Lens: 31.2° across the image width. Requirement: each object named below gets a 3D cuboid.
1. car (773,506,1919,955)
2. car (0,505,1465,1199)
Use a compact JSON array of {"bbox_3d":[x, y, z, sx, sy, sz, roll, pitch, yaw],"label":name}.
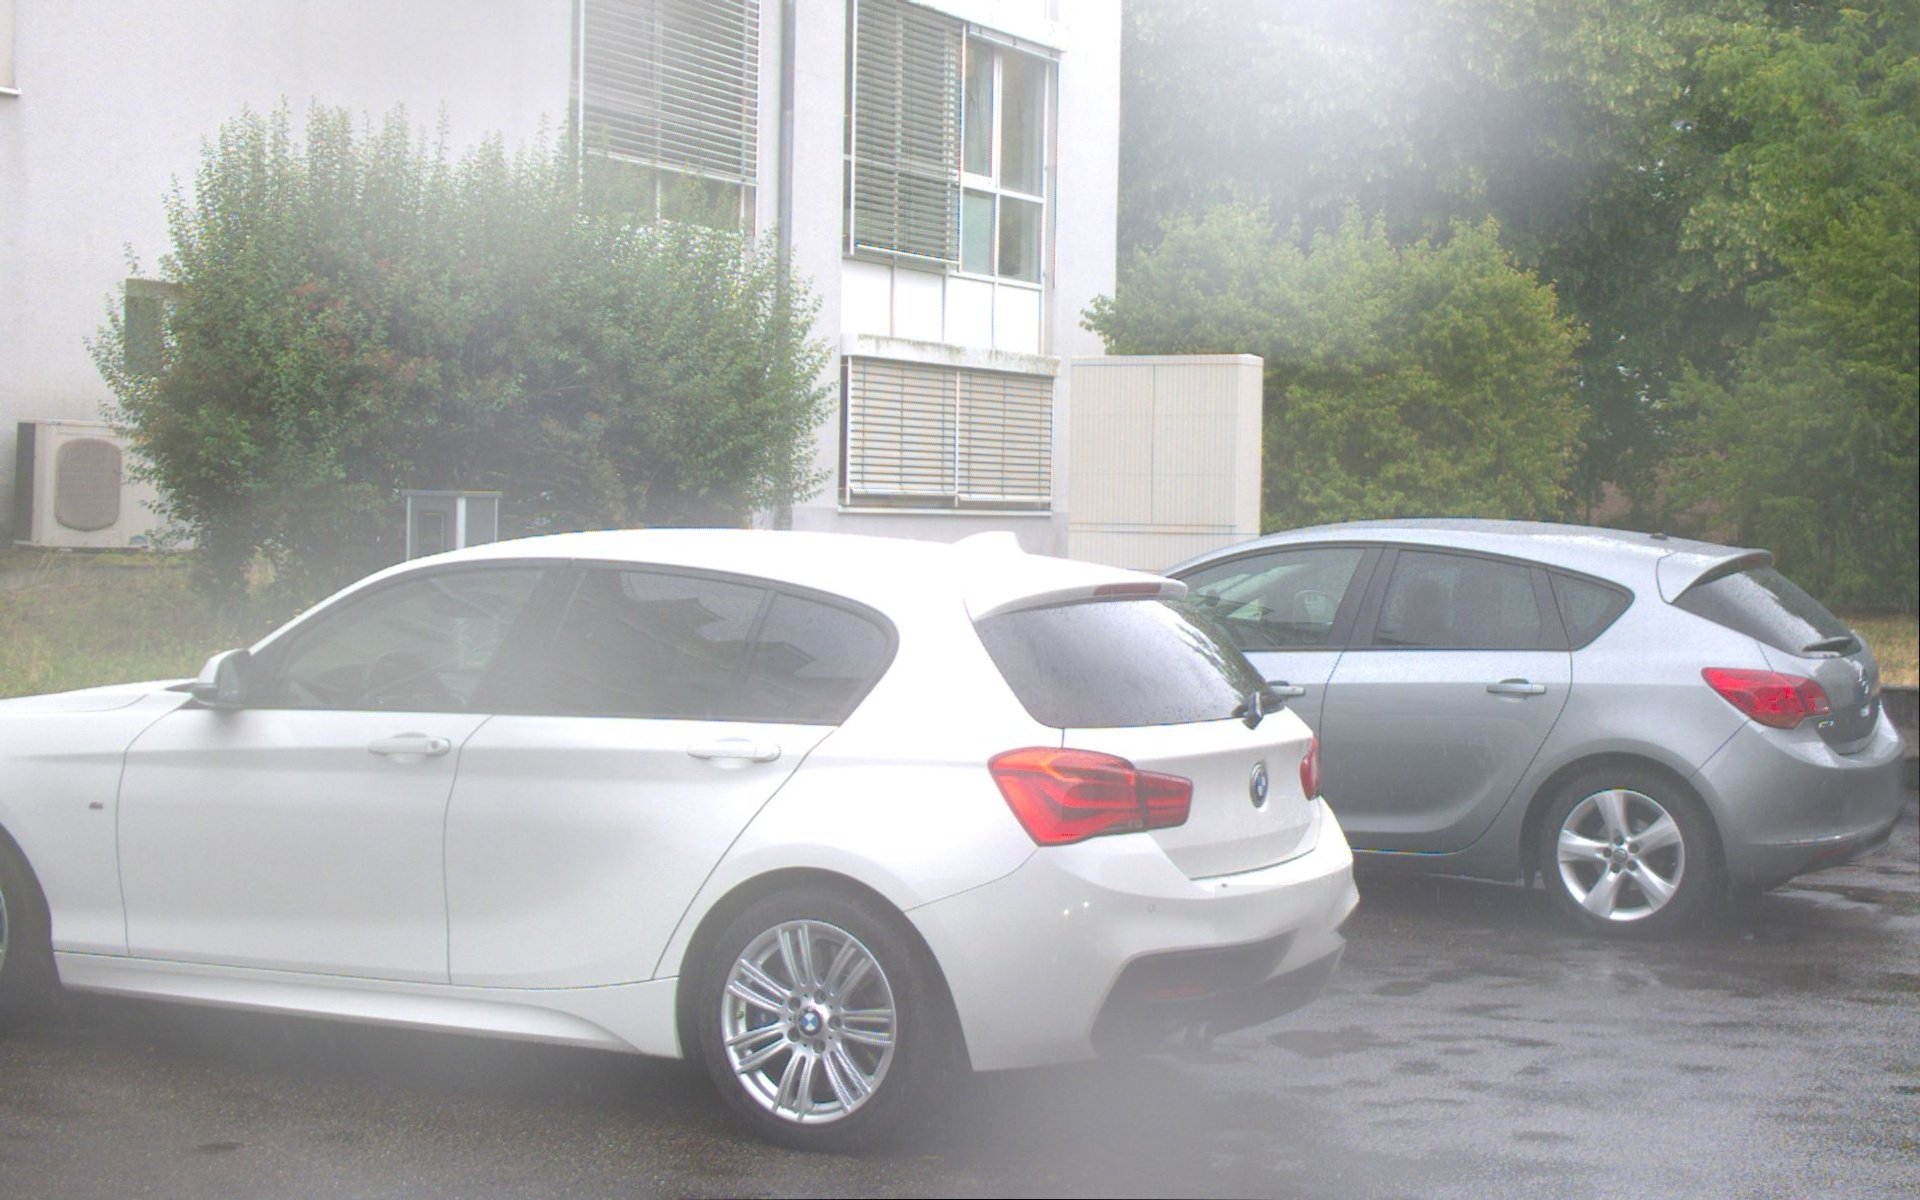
[{"bbox_3d":[1.592,0.422,13.705,4.214,1.484,1.997,2,1,27],"label":"car"},{"bbox_3d":[-0.986,0.524,9.325,4.214,1.484,1.997,2,1,27],"label":"car"}]
